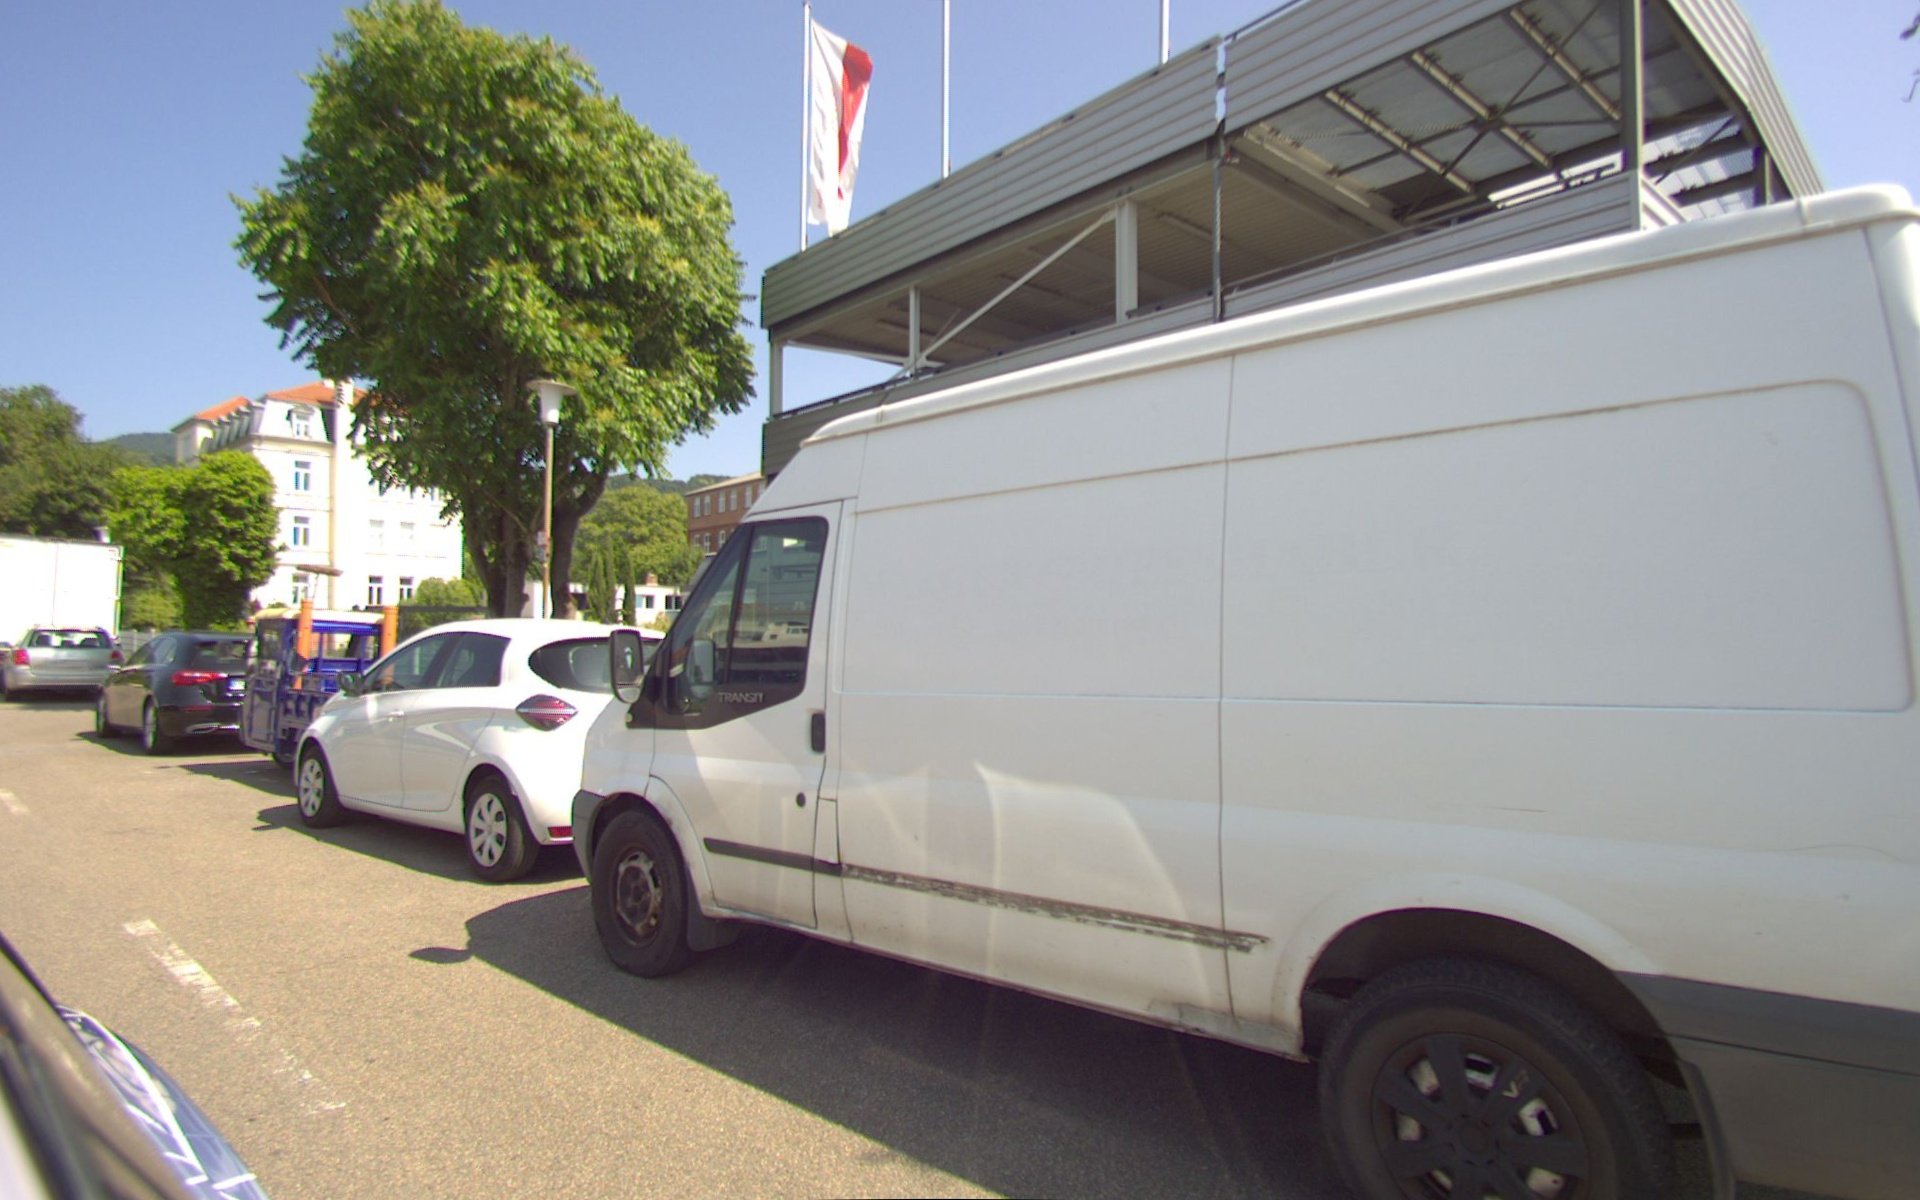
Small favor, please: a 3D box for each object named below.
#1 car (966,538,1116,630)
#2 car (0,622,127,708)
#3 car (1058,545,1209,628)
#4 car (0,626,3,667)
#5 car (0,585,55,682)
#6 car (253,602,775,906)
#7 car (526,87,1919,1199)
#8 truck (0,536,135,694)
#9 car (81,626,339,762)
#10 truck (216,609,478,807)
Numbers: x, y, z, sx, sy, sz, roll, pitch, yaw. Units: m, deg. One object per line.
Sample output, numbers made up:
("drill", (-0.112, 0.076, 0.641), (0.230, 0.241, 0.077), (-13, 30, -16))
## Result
("car", (1.554, -0.309, 20.902), (1.787, 1.684, 4.012), (1, 0, -15))
("car", (-18.062, 1.246, 20.183), (4.311, 1.533, 1.722), (-2, -4, 44))
("car", (3.802, -0.297, 22.895), (1.787, 1.684, 4.012), (1, 0, -15))
("car", (-35.239, 1.662, 35.634), (4.397, 1.555, 1.696), (0, -3, 40))
("car", (-28.529, 0.913, 29.620), (6.918, 2.615, 2.145), (0, -3, 42))
("car", (-3.369, 0.911, 7.370), (3.966, 1.636, 1.689), (-1, -5, 37))
("car", (0.647, 0.389, 3.833), (5.224, 2.384, 1.985), (-1, -4, 40))
("truck", (-22.653, 0.372, 24.653), (7.125, 3.392, 2.657), (0, -2, 41))
("car", (-9.697, 1.096, 12.973), (4.110, 1.474, 1.687), (-1, -4, 40))
("truck", (-6.022, 0.954, 9.830), (3.138, 1.634, 1.127), (-1, -4, 39))
